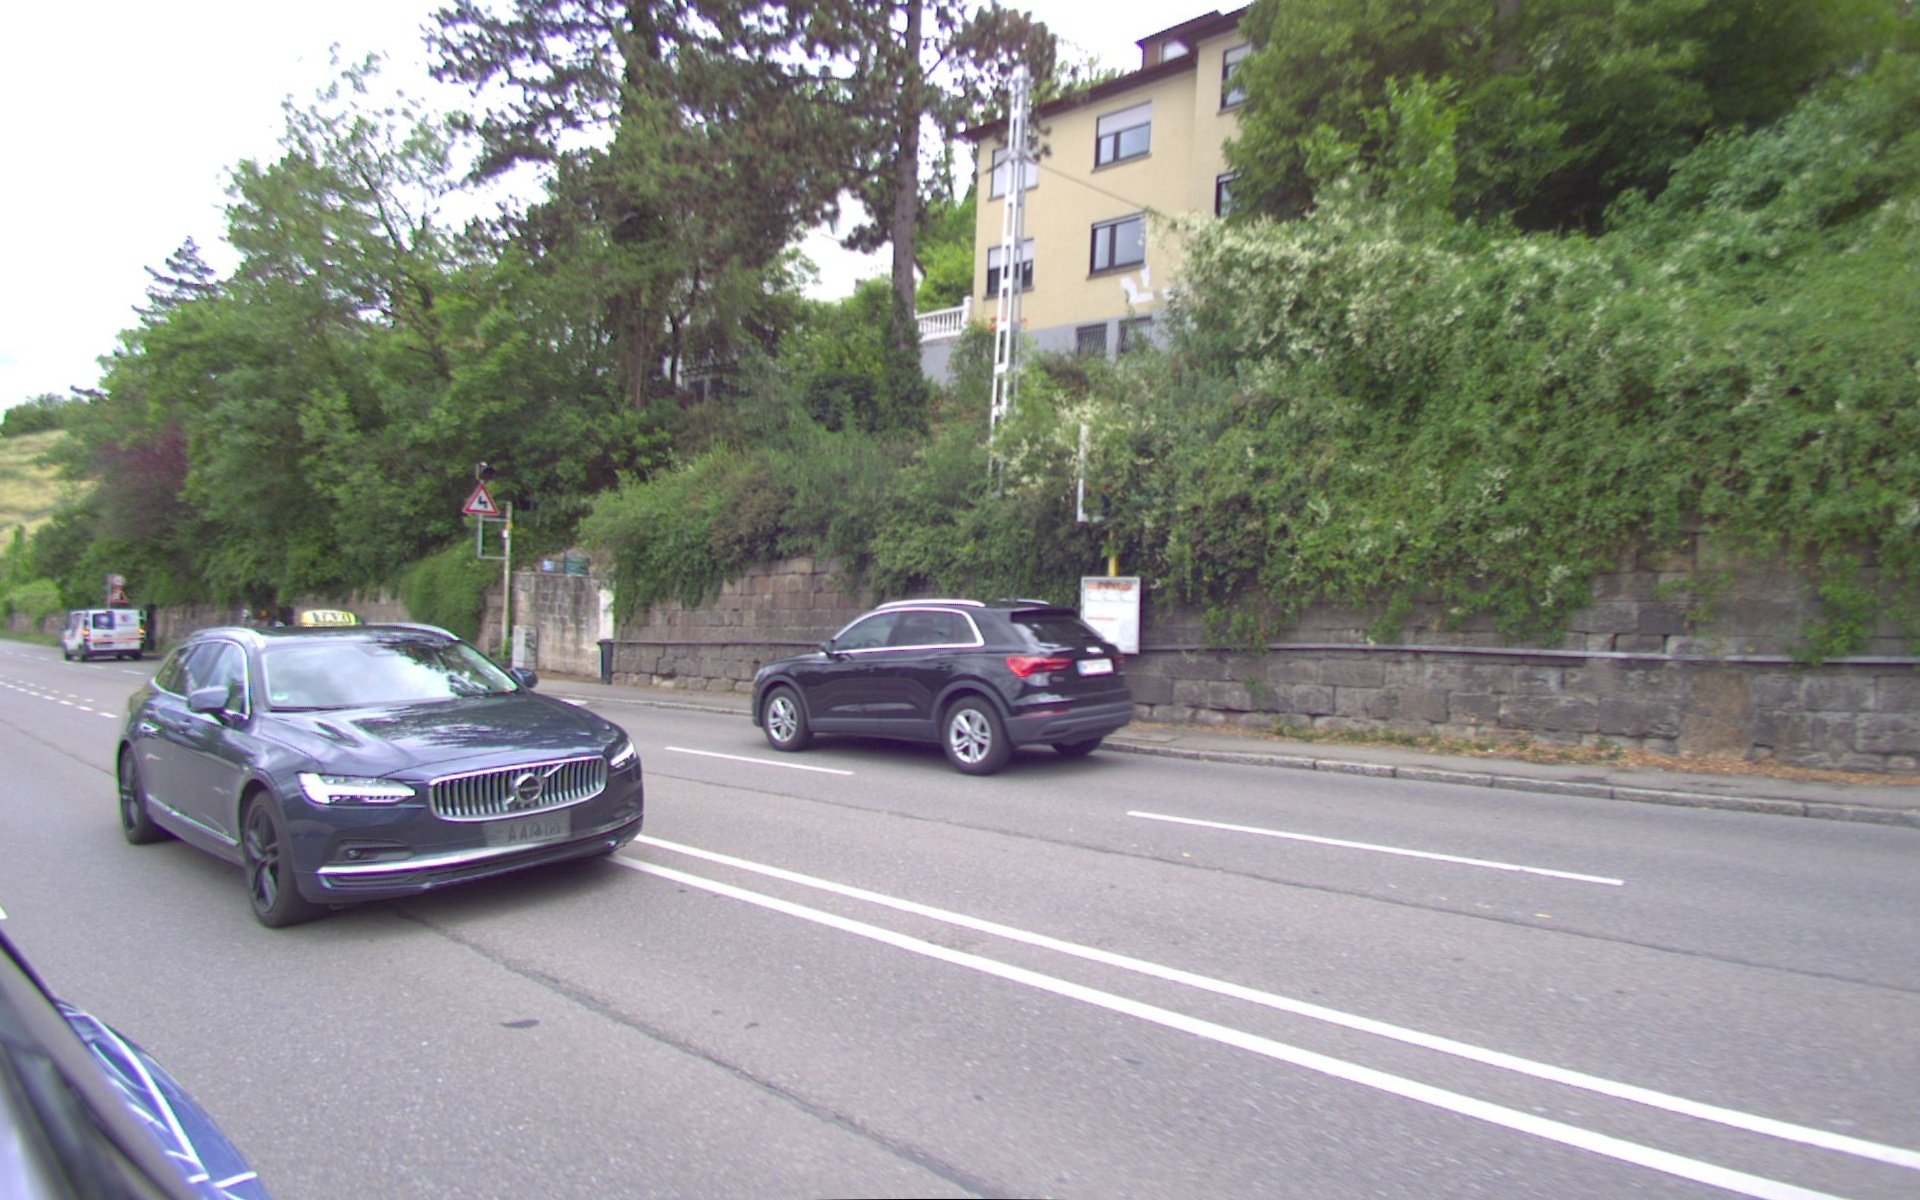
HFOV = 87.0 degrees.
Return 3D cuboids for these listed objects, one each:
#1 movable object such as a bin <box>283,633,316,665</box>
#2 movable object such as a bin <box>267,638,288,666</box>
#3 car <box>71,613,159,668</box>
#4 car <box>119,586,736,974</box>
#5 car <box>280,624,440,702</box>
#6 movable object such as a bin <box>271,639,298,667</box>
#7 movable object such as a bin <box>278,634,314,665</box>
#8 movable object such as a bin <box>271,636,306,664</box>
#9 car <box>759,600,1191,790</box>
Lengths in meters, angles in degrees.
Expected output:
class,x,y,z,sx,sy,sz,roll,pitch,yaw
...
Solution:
class,x,y,z,sx,sy,sz,roll,pitch,yaw
movable object such as a bin,-22.683,1.672,34.753,0.717,1.070,0.765,-2,-1,37
movable object such as a bin,-24.579,1.863,36.424,0.473,0.973,0.512,-2,-1,37
car,-33.442,1.572,39.982,5.353,2.020,1.901,-2,-1,41
car,-3.779,0.794,6.630,5.025,1.588,1.914,-2,0,42
car,-12.980,1.279,21.785,4.230,1.453,1.659,-1,1,41
movable object such as a bin,-24.105,1.883,36.135,0.542,0.973,0.667,-2,-1,37
movable object such as a bin,-23.147,1.729,35.293,0.620,1.042,0.890,-2,-1,37
movable object such as a bin,-23.691,1.762,35.696,0.593,0.953,0.907,-2,-1,38
car,0.003,0.822,10.447,4.247,1.560,1.921,-1,-1,41
